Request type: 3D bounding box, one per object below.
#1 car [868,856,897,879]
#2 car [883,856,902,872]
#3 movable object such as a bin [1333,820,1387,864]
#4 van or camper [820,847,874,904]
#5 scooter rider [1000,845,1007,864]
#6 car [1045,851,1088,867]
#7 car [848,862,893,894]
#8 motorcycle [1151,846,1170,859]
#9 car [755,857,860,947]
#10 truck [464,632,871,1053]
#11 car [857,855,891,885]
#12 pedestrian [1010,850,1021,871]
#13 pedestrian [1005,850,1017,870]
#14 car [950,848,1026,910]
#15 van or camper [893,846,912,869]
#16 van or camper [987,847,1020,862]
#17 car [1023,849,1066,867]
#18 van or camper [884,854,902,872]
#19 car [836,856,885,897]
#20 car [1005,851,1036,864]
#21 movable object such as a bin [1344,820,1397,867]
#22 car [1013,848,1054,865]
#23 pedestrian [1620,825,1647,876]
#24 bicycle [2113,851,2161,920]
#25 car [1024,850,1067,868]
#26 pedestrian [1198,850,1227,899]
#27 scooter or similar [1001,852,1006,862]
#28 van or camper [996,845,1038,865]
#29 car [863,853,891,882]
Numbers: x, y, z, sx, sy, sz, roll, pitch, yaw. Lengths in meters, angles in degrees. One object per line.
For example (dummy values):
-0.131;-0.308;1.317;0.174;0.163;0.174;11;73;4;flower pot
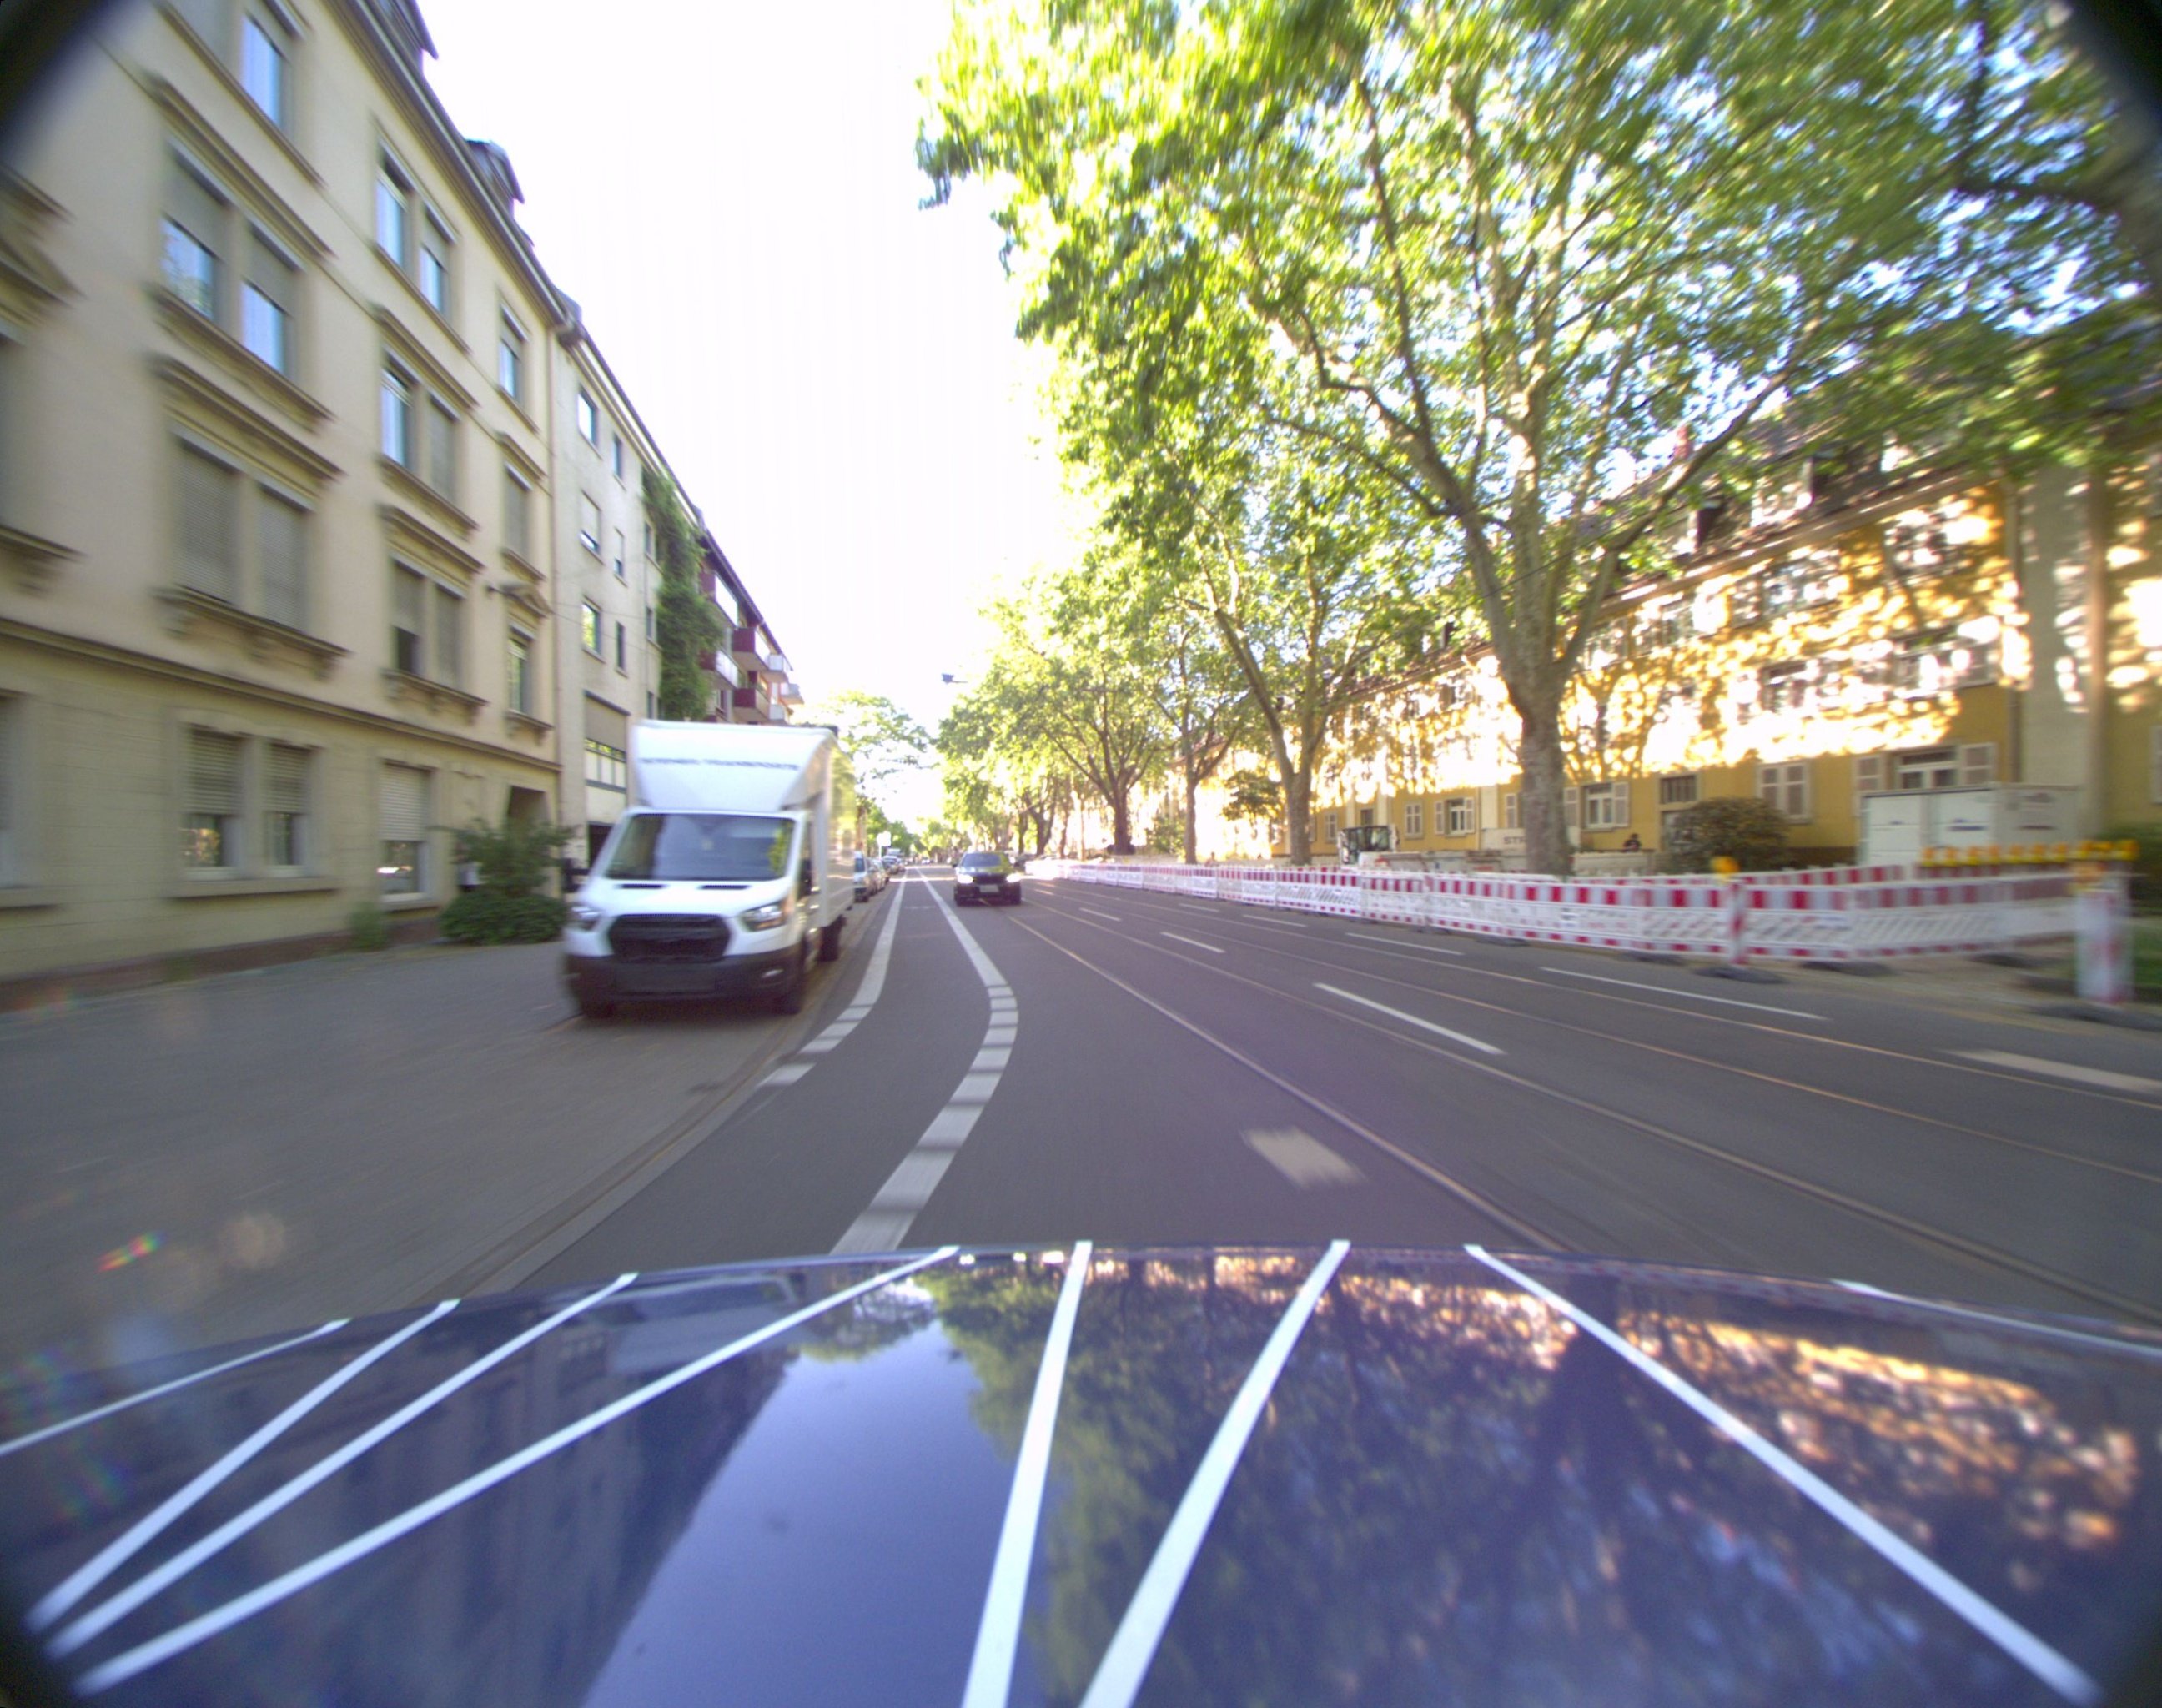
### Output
-13.226;0.892;50.753;1.740;1.453;3.911;1;0;-13;car
-18.509;0.969;74.758;1.712;1.464;3.995;-1;0;-12;car
12.226;-0.523;33.342;1.338;1.858;2.005;-2;1;-12;movable object such as a bin
-8.216;0.695;26.943;1.675;1.872;4.205;0;0;-15;van or camper
-8.167;0.065;80.221;0.651;1.946;0.623;-2;2;-12;scooter rider
-1.444;0.490;72.953;3.861;1.489;1.860;-1;0;-12;car
-10.146;1.102;36.841;1.665;1.391;4.735;1;0;-11;car
7.688;-0.183;73.798;1.715;1.234;0.522;-1;1;-10;motorcycle
-5.492;0.878;15.633;1.738;1.548;4.145;1;0;-17;car
-4.318;-0.078;9.782;2.547;3.318;7.186;1;0;-12;truck
-11.528;0.862;42.476;1.597;1.518;3.830;1;0;-12;car
-5.601;0.564;64.741;0.825;1.735;0.795;-2;2;-12;pedestrian
-6.102;0.526;66.136;0.825;1.735;0.795;-2;2;-12;pedestrian
-3.124;0.723;24.587;1.926;1.741;4.801;-2;0;-12;car
-25.034;0.441;106.422;2.471;3.046;6.260;1;0;-14;van or camper
-12.030;0.052;117.341;4.837;2.177;2.117;-2;1;-13;van or camper
-3.814;0.416;79.051;4.214;1.747;1.737;-2;1;-14;car
-19.761;0.888;79.838;1.761;1.853;4.824;-1;0;-13;van or camper
-9.159;0.892;31.804;1.666;1.571;3.585;0;0;-12;car
-7.931;0.391;100.077;3.861;1.653;1.860;-1;0;-12;car
10.596;-0.370;27.857;1.101;1.636;1.558;-2;1;-12;movable object such as a bin
-5.788;0.302;92.041;4.674;1.934;1.959;-2;1;-15;car
18.190;-0.115;25.012;0.670;1.646;0.674;0;1;33;pedestrian
18.340;0.526;12.154;0.628;1.134;2.111;-1;1;-9;bicycle
-3.590;0.499;76.750;4.247;1.678;1.932;-1;0;-5;car
4.600;0.690;26.541;0.719;1.660;0.778;-2;2;-12;pedestrian
-8.153;0.309;80.115;0.409;1.077;1.337;-2;1;-12;scooter or similar
-8.891;0.114;105.049;5.408;2.501;2.442;-2;1;-13;van or camper
-12.417;0.794;46.355;1.531;1.581;3.747;-2;1;-14;car
